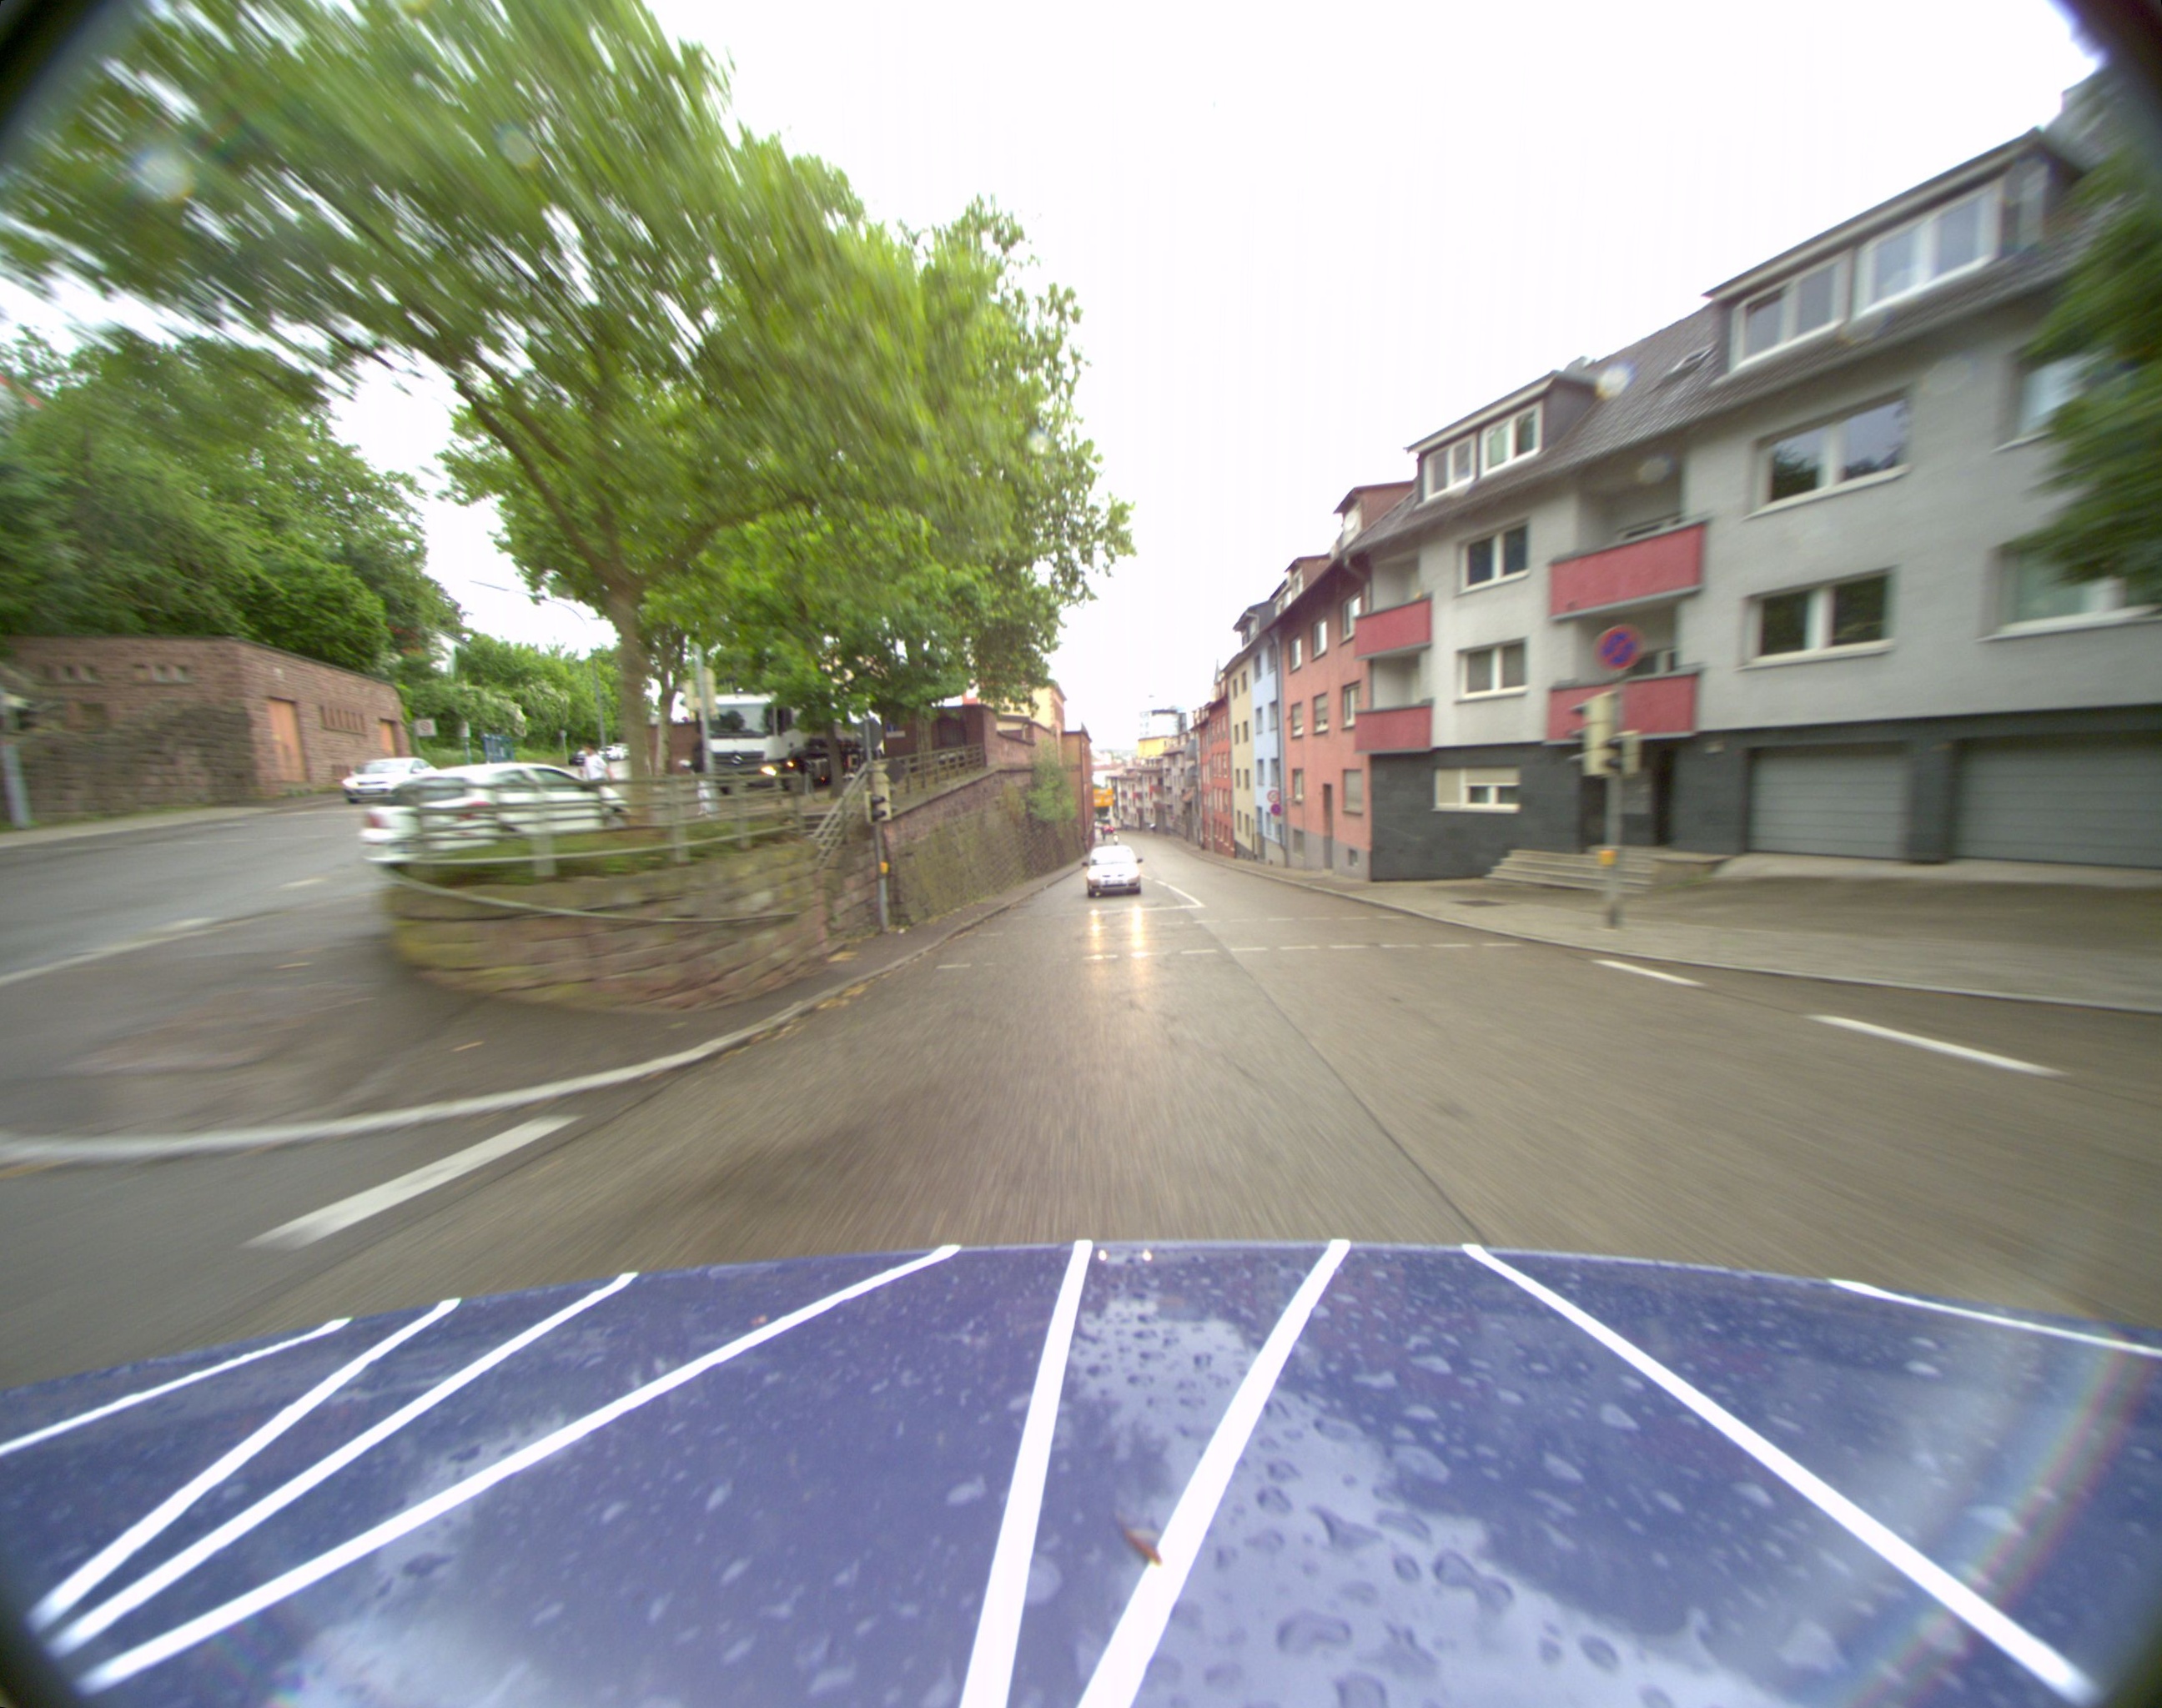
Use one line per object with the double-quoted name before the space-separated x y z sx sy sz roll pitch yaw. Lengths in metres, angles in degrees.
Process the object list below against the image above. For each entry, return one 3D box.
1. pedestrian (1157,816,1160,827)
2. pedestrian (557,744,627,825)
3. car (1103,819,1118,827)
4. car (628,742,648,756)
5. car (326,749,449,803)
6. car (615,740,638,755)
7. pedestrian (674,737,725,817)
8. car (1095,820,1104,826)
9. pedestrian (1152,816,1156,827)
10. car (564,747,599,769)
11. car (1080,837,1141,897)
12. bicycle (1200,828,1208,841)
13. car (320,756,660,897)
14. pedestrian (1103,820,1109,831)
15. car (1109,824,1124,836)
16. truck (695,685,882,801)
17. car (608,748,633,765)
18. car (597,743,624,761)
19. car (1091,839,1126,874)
"pedestrian" 12.829 -5.434 125.396 0.355 1.770 0.499 -5 4 -6
"pedestrian" -10.465 -1.480 16.289 0.873 1.668 0.779 -1 4 6
"car" 5.433 -5.737 140.447 2.000 1.471 3.995 -1 3 -7
"car" -61.975 -14.734 106.405 1.735 1.633 3.986 -7 12 -22
"car" -24.336 -2.819 26.876 1.827 1.513 3.986 -6 12 -23
"car" -55.513 -13.045 92.858 1.735 1.633 3.986 -7 12 -22
"pedestrian" -8.343 -1.666 16.620 0.780 1.668 0.871 -4 5 -36
"car" 4.429 -7.334 180.426 1.713 1.317 3.368 -5 3 -2
"pedestrian" 12.013 -5.365 125.307 0.386 1.770 0.499 -5 4 -6
"car" -44.981 -8.708 68.532 1.735 1.633 3.986 -7 12 -22
"car" 1.005 0.356 25.038 1.719 1.528 3.998 -4 3 3
"bicycle" 12.121 -1.923 74.887 0.572 1.111 2.039 -5 3 5
"car" -8.685 -0.613 11.815 1.635 1.487 4.339 -4 10 1
"pedestrian" 3.900 -4.401 117.703 0.871 1.532 1.087 -4 1 1
"car" 4.745 -3.235 101.811 1.637 1.522 3.997 -4 3 0
"truck" -9.877 -4.266 27.535 2.755 3.297 11.203 -1 11 -3
"car" -52.837 -11.238 87.250 1.735 1.633 3.986 -7 12 -22
"car" -50.869 -11.028 82.237 1.735 1.633 3.986 -7 12 -22
"car" 1.555 0.103 42.262 1.719 1.528 3.998 -4 3 4
